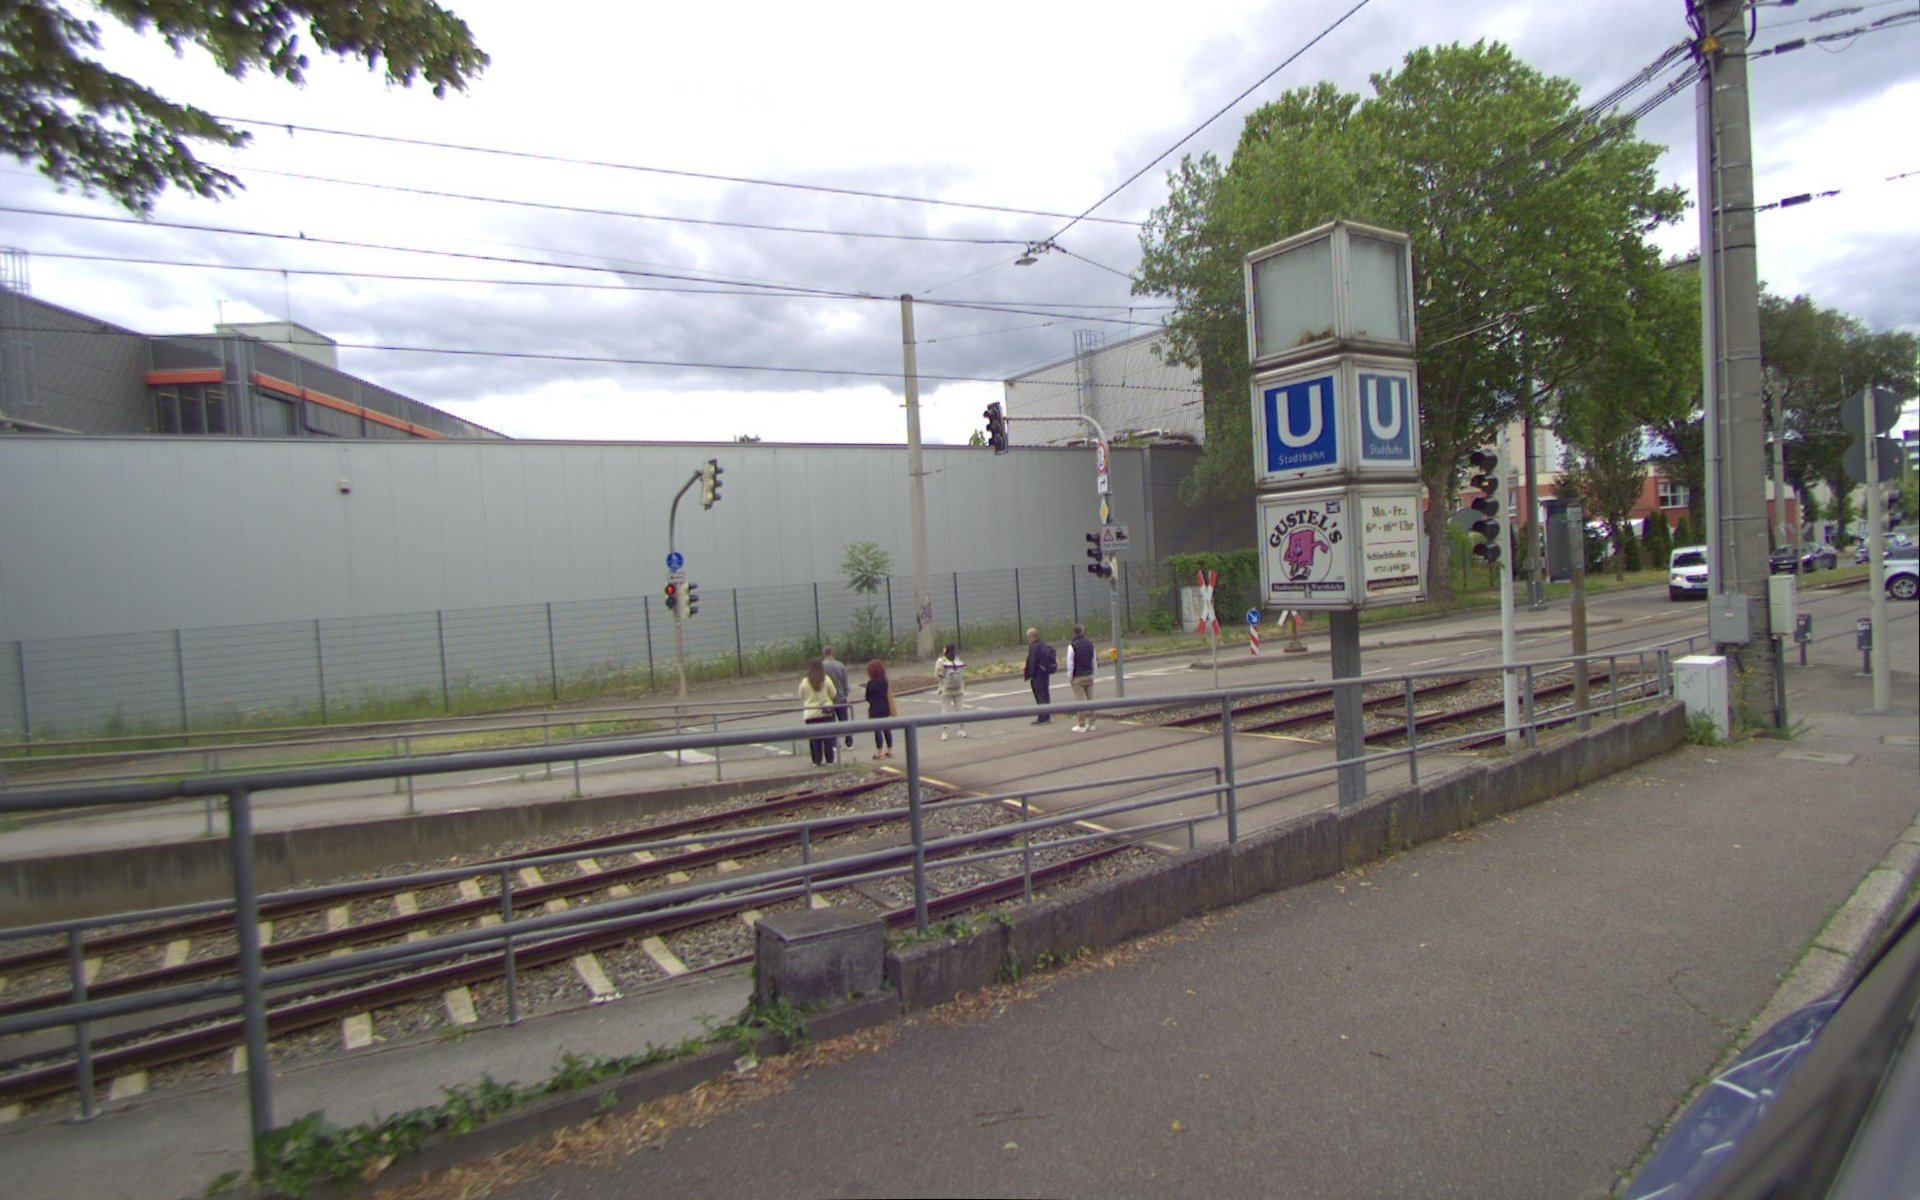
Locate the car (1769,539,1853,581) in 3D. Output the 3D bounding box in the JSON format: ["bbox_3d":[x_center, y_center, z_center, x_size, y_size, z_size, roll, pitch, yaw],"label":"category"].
[{"bbox_3d":[40.114,-1.904,47.653,4.479,1.575,1.998,-6,1,-37],"label":"car"}]

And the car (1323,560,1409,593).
[{"bbox_3d":[24.943,-1.466,62.246,4.411,1.686,2.003,-4,1,-7],"label":"car"}]

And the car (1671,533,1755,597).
[{"bbox_3d":[26.697,-1.302,36.027,1.985,2.027,4.977,-4,1,34],"label":"car"}]

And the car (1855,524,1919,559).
[{"bbox_3d":[50.333,-3.178,54.685,4.479,1.575,1.998,-6,1,-37],"label":"car"}]

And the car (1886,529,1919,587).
[{"bbox_3d":[29.824,-1.240,29.262,1.964,1.711,4.264,-1,1,-39],"label":"car"}]

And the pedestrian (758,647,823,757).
[{"bbox_3d":[-2.784,1.651,16.568,0.723,1.686,0.682,-5,-1,-30],"label":"pedestrian"}]

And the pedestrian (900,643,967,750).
[{"bbox_3d":[-0.453,1.614,17.095,0.724,1.686,0.681,-4,-1,-36],"label":"pedestrian"}]

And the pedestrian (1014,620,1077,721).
[{"bbox_3d":[1.519,1.248,17.959,0.732,1.686,0.674,-6,-1,33],"label":"pedestrian"}]

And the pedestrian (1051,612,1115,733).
[{"bbox_3d":[2.012,1.165,16.647,0.657,1.843,0.807,-5,2,-15],"label":"pedestrian"}]

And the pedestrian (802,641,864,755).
[{"bbox_3d":[-2.130,1.623,16.951,0.723,1.780,0.552,-5,-1,-29],"label":"pedestrian"}]

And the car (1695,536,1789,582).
[{"bbox_3d":[33.413,-1.773,43.207,4.479,1.575,1.998,-6,1,-37],"label":"car"}]
